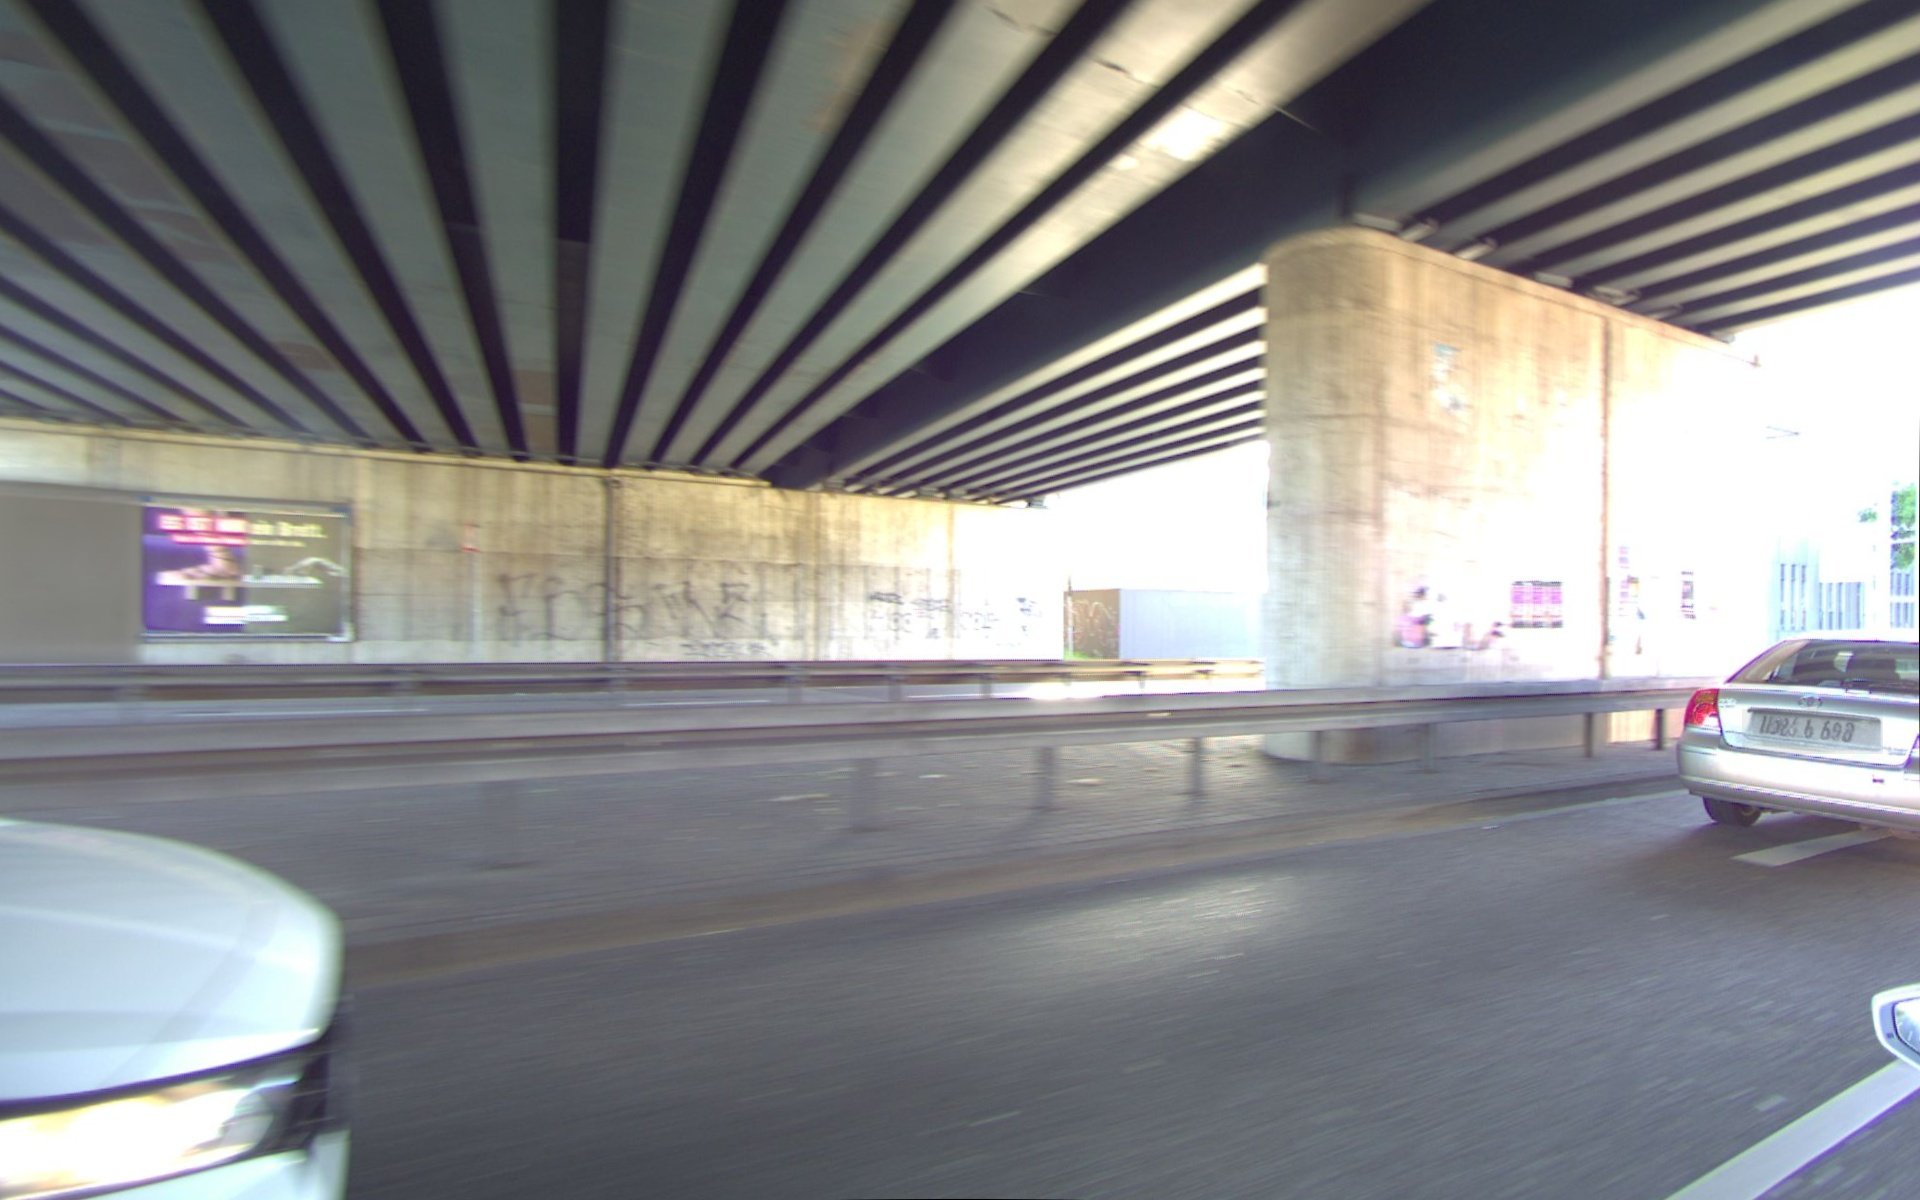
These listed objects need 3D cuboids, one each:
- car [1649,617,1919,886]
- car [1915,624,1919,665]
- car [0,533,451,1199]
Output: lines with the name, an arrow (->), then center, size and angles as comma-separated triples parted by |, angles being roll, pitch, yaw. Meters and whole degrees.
car -> 6.970, 0.942, 7.266 | 4.271, 1.499, 1.724 | 2, -1, -32
car -> 43.470, 1.941, 43.533 | 4.575, 1.760, 1.816 | 2, -3, -30
car -> -2.849, 0.628, 1.133 | 3.945, 1.499, 1.724 | 2, 0, -31
